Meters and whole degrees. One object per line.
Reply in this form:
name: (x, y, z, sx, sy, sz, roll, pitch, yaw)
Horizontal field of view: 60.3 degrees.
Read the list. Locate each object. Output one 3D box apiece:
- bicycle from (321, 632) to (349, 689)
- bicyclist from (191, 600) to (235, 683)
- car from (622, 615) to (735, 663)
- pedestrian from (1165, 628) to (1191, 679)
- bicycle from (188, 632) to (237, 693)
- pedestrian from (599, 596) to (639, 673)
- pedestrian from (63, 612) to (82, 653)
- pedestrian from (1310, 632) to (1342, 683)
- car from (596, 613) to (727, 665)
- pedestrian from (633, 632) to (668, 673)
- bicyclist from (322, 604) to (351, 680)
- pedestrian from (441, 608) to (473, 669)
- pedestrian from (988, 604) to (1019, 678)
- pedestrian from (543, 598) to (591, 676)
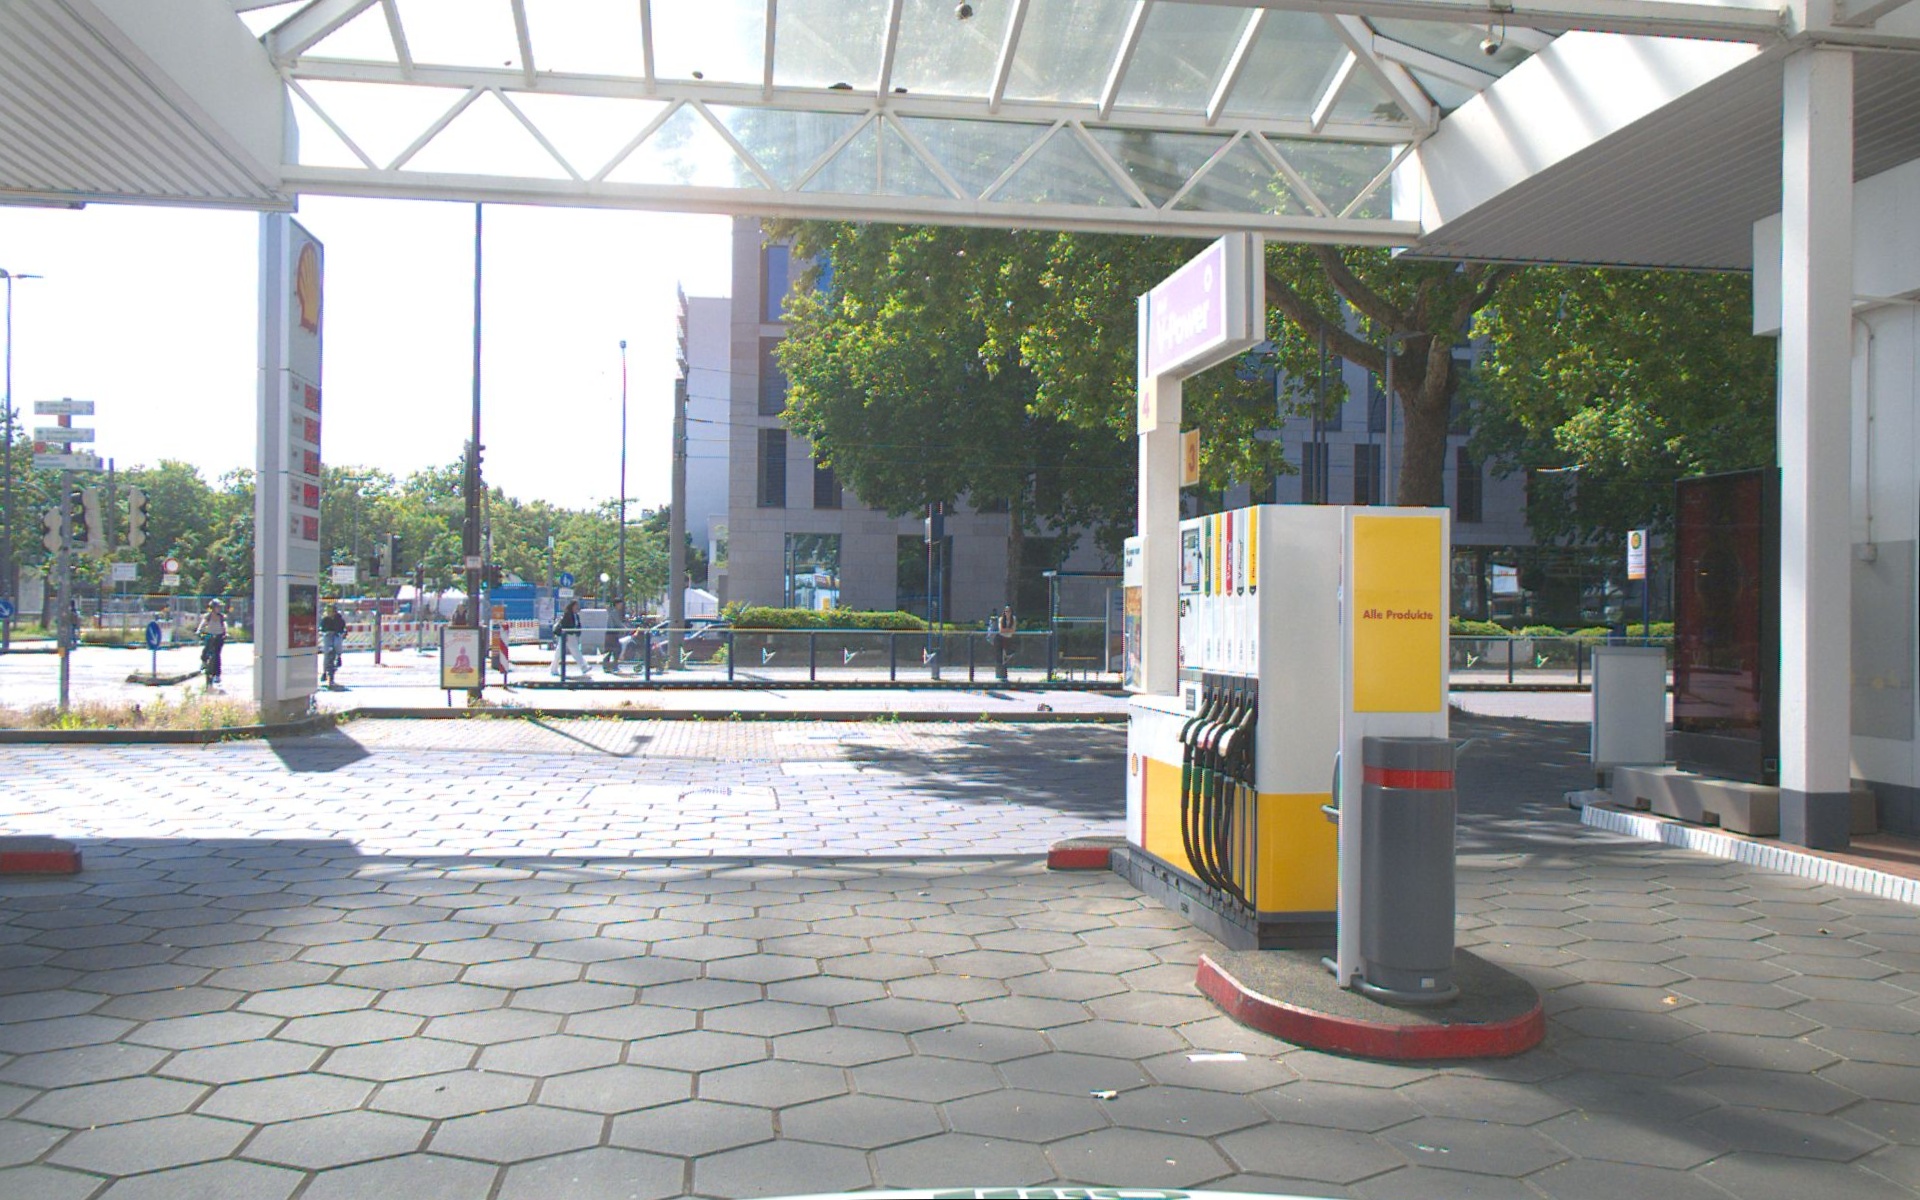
bicycle: (-13.038, 1.246, 34.545, 0.515, 1.101, 1.856, 1, 0, -20)
bicyclist: (-14.896, 0.815, 32.994, 0.627, 1.608, 1.168, 1, 0, -17)
car: (-9.402, 1.298, 55.243, 3.619, 1.579, 1.586, 1, -1, -14)
pedestrian: (4.962, 1.213, 37.632, 0.489, 1.158, 0.524, 1, -1, -2)
bicycle: (-14.908, 1.226, 33.031, 0.628, 1.101, 2.016, 1, 1, -17)
pedestrian: (-7.695, 0.769, 37.315, 0.761, 1.712, 0.503, 0, -1, 1)
pedestrian: (-32.020, 1.166, 59.649, 0.558, 1.495, 0.508, 1, -1, -33)
pedestrian: (8.467, 1.316, 38.239, 0.615, 1.158, 0.524, 0, -1, -2)
car: (-9.263, 1.212, 51.296, 3.919, 1.579, 1.697, 1, -1, -14)
pedestrian: (-6.973, 1.177, 37.296, 0.676, 0.896, 0.503, 0, -1, 0)
bicyclist: (-13.060, 0.871, 34.627, 0.525, 1.571, 0.860, 1, -1, -22)
pedestrian: (-13.006, 0.995, 42.775, 0.637, 1.567, 0.503, 0, -1, 1)
pedestrian: (0.974, 0.910, 36.877, 0.573, 1.619, 0.669, 1, 1, -9)
pedestrian: (-8.681, 0.815, 36.580, 0.913, 1.712, 0.503, 0, -1, 1)
